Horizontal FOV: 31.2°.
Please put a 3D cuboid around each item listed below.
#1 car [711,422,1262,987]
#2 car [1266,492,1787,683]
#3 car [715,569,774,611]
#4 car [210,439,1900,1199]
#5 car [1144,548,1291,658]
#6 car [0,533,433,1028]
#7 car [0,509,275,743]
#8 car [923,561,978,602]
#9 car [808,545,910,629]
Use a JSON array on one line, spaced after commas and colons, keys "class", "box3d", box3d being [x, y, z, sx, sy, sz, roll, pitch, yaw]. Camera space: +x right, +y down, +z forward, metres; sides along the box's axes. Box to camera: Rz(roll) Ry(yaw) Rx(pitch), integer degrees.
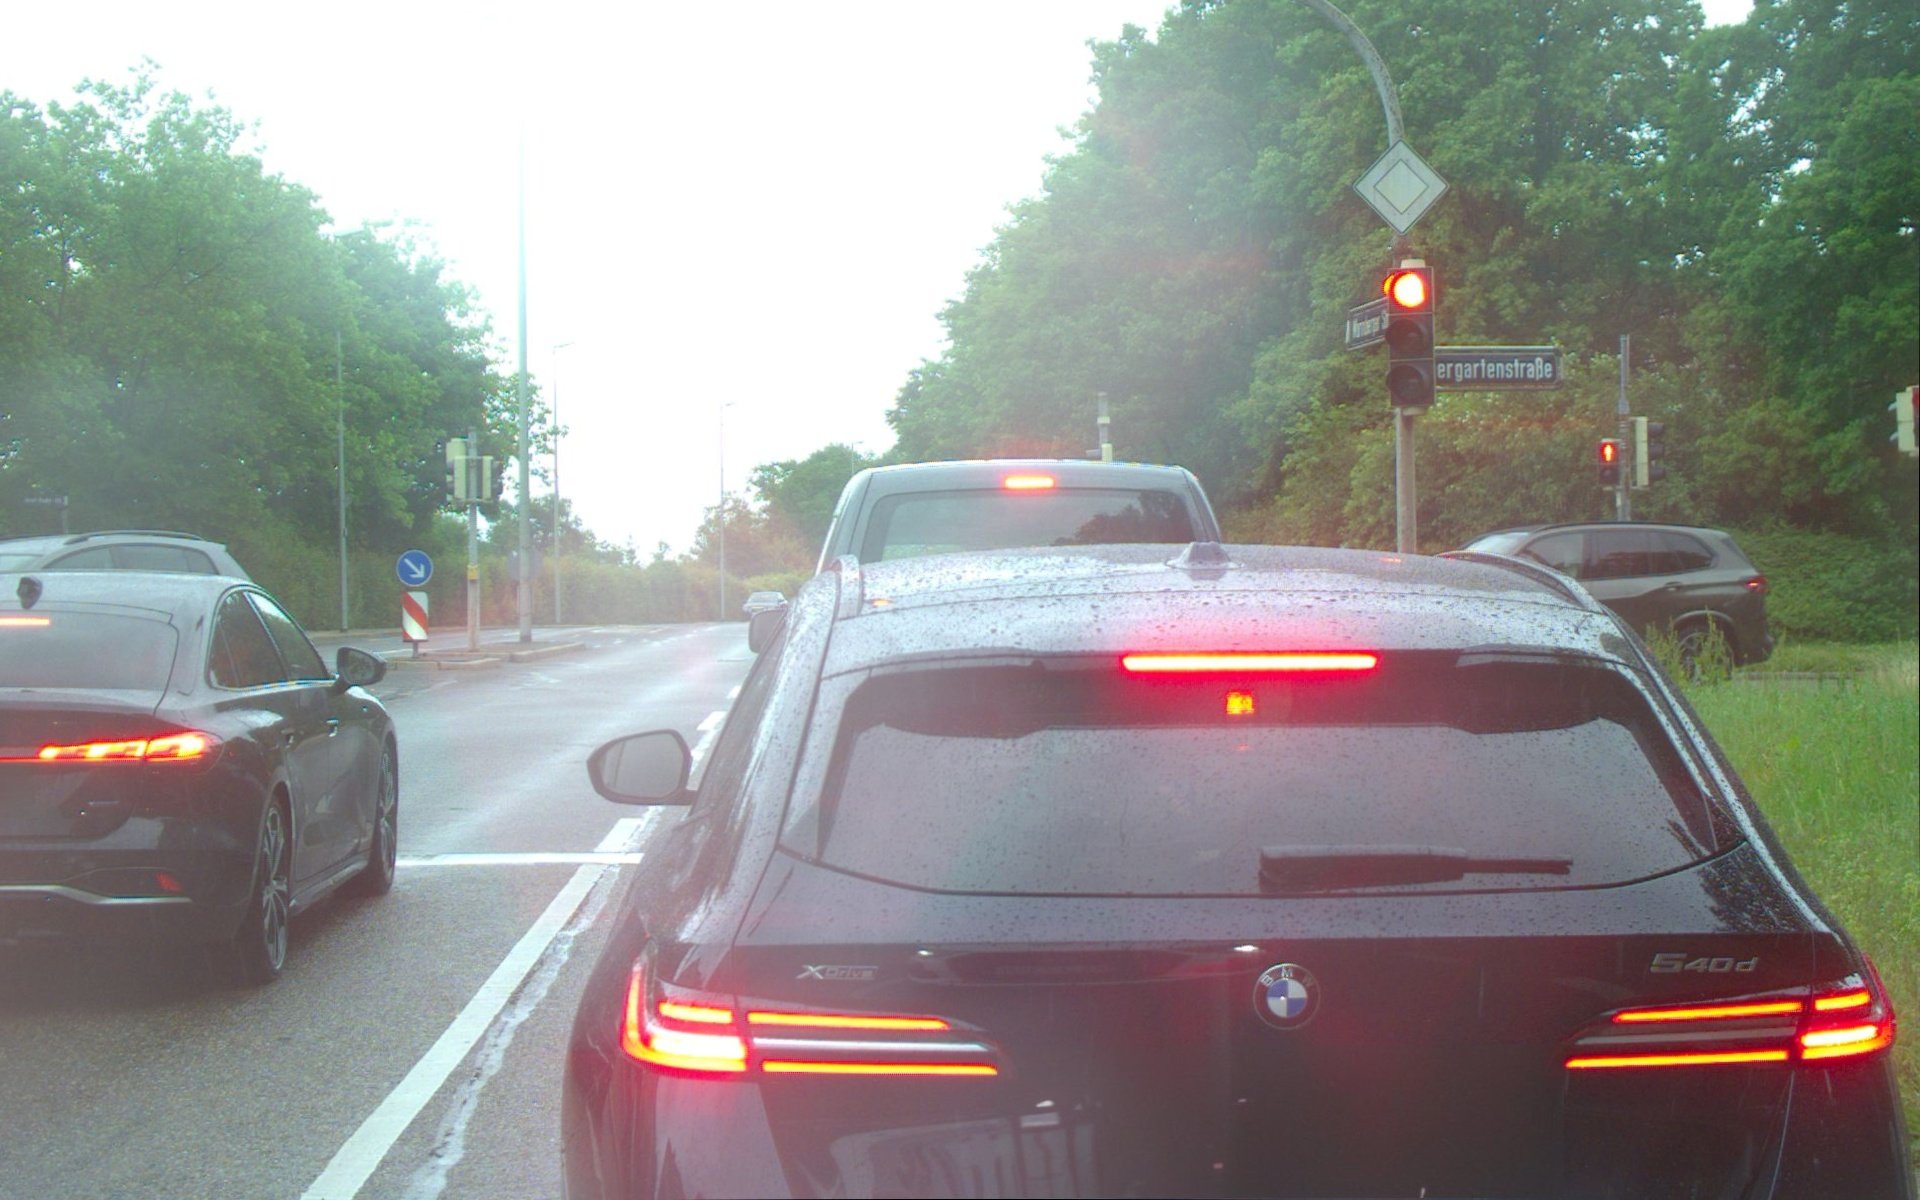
[{"class": "car", "box3d": [0.084, 0.325, 13.348, 1.818, 1.862, 3.952, 0, 1, 0]}, {"class": "car", "box3d": [5.649, -0.146, 34.470, 4.700, 1.711, 2.001, -2, 1, -14]}, {"class": "car", "box3d": [-9.904, -0.472, 158.224, 1.994, 1.820, 3.999, -2, 0, 6]}, {"class": "car", "box3d": [0.211, 0.594, 6.175, 1.898, 1.546, 4.614, 0, 0, 3]}, {"class": "car", "box3d": [3.880, 0.026, 52.415, 1.873, 1.537, 3.952, -2, 1, 0]}, {"class": "car", "box3d": [-3.340, 0.571, 12.941, 1.993, 1.522, 4.328, -2, 1, 0]}, {"class": "car", "box3d": [-7.144, 0.203, 24.989, 1.746, 1.596, 4.023, -1, 1, 38]}, {"class": "car", "box3d": [-0.399, -0.812, 148.391, 1.994, 1.618, 3.952, -2, 1, 4]}, {"class": "car", "box3d": [-1.880, -0.245, 63.258, 1.697, 1.422, 3.514, -2, 1, -4]}]
